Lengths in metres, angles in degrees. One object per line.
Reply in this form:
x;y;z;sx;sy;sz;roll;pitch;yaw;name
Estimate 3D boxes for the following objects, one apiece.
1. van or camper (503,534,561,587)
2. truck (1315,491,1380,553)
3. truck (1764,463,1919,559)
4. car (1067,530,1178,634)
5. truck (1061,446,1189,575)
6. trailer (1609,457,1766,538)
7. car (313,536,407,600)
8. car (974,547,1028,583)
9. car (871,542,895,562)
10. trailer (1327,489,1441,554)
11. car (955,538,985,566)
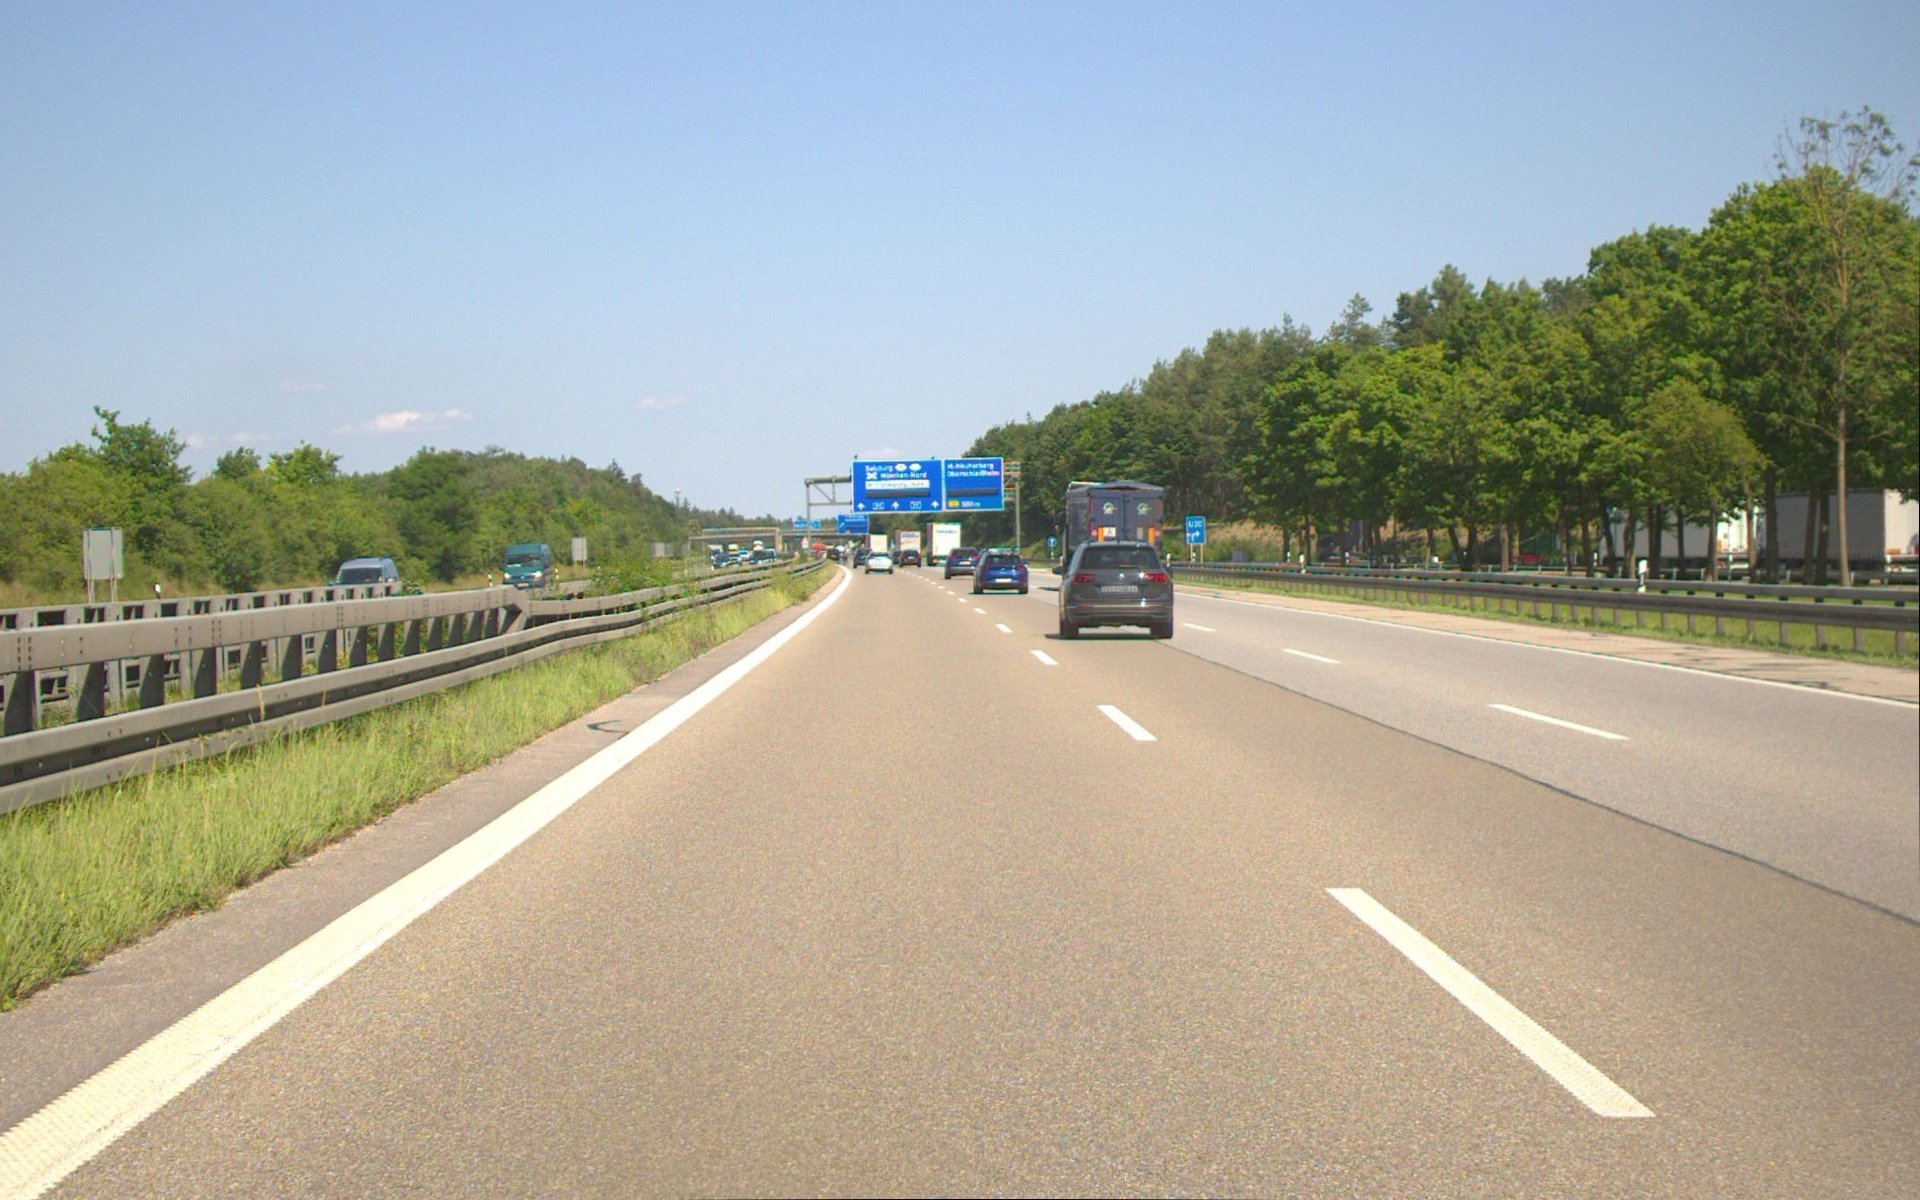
-20.508;-1.917;164.967;1.993;2.384;6.242;-2;1;-1;van or camper
24.715;-4.943;219.527;2.571;3.901;4.868;-1;1;-14;truck
38.467;-3.759;148.151;2.995;3.917;14.463;-1;1;-5;truck
2.719;-0.337;58.227;1.799;1.663;4.258;0;1;2;car
5.877;-3.202;124.805;3.780;4.407;14.052;0;1;-1;truck
35.627;-4.951;169.156;2.857;3.783;14.193;-1;1;-8;trailer
-18.709;-1.029;107.405;1.993;1.829;5.334;-3;1;-1;car
1.355;-1.183;115.907;1.709;1.151;3.689;-1;1;-1;car
-4.845;-3.031;216.579;1.471;1.223;3.410;-1;1;-1;car
26.239;-4.822;213.552;2.571;3.901;12.753;-1;1;-14;trailer
0.508;-2.447;175.124;1.471;1.393;3.410;2;1;-1;car
